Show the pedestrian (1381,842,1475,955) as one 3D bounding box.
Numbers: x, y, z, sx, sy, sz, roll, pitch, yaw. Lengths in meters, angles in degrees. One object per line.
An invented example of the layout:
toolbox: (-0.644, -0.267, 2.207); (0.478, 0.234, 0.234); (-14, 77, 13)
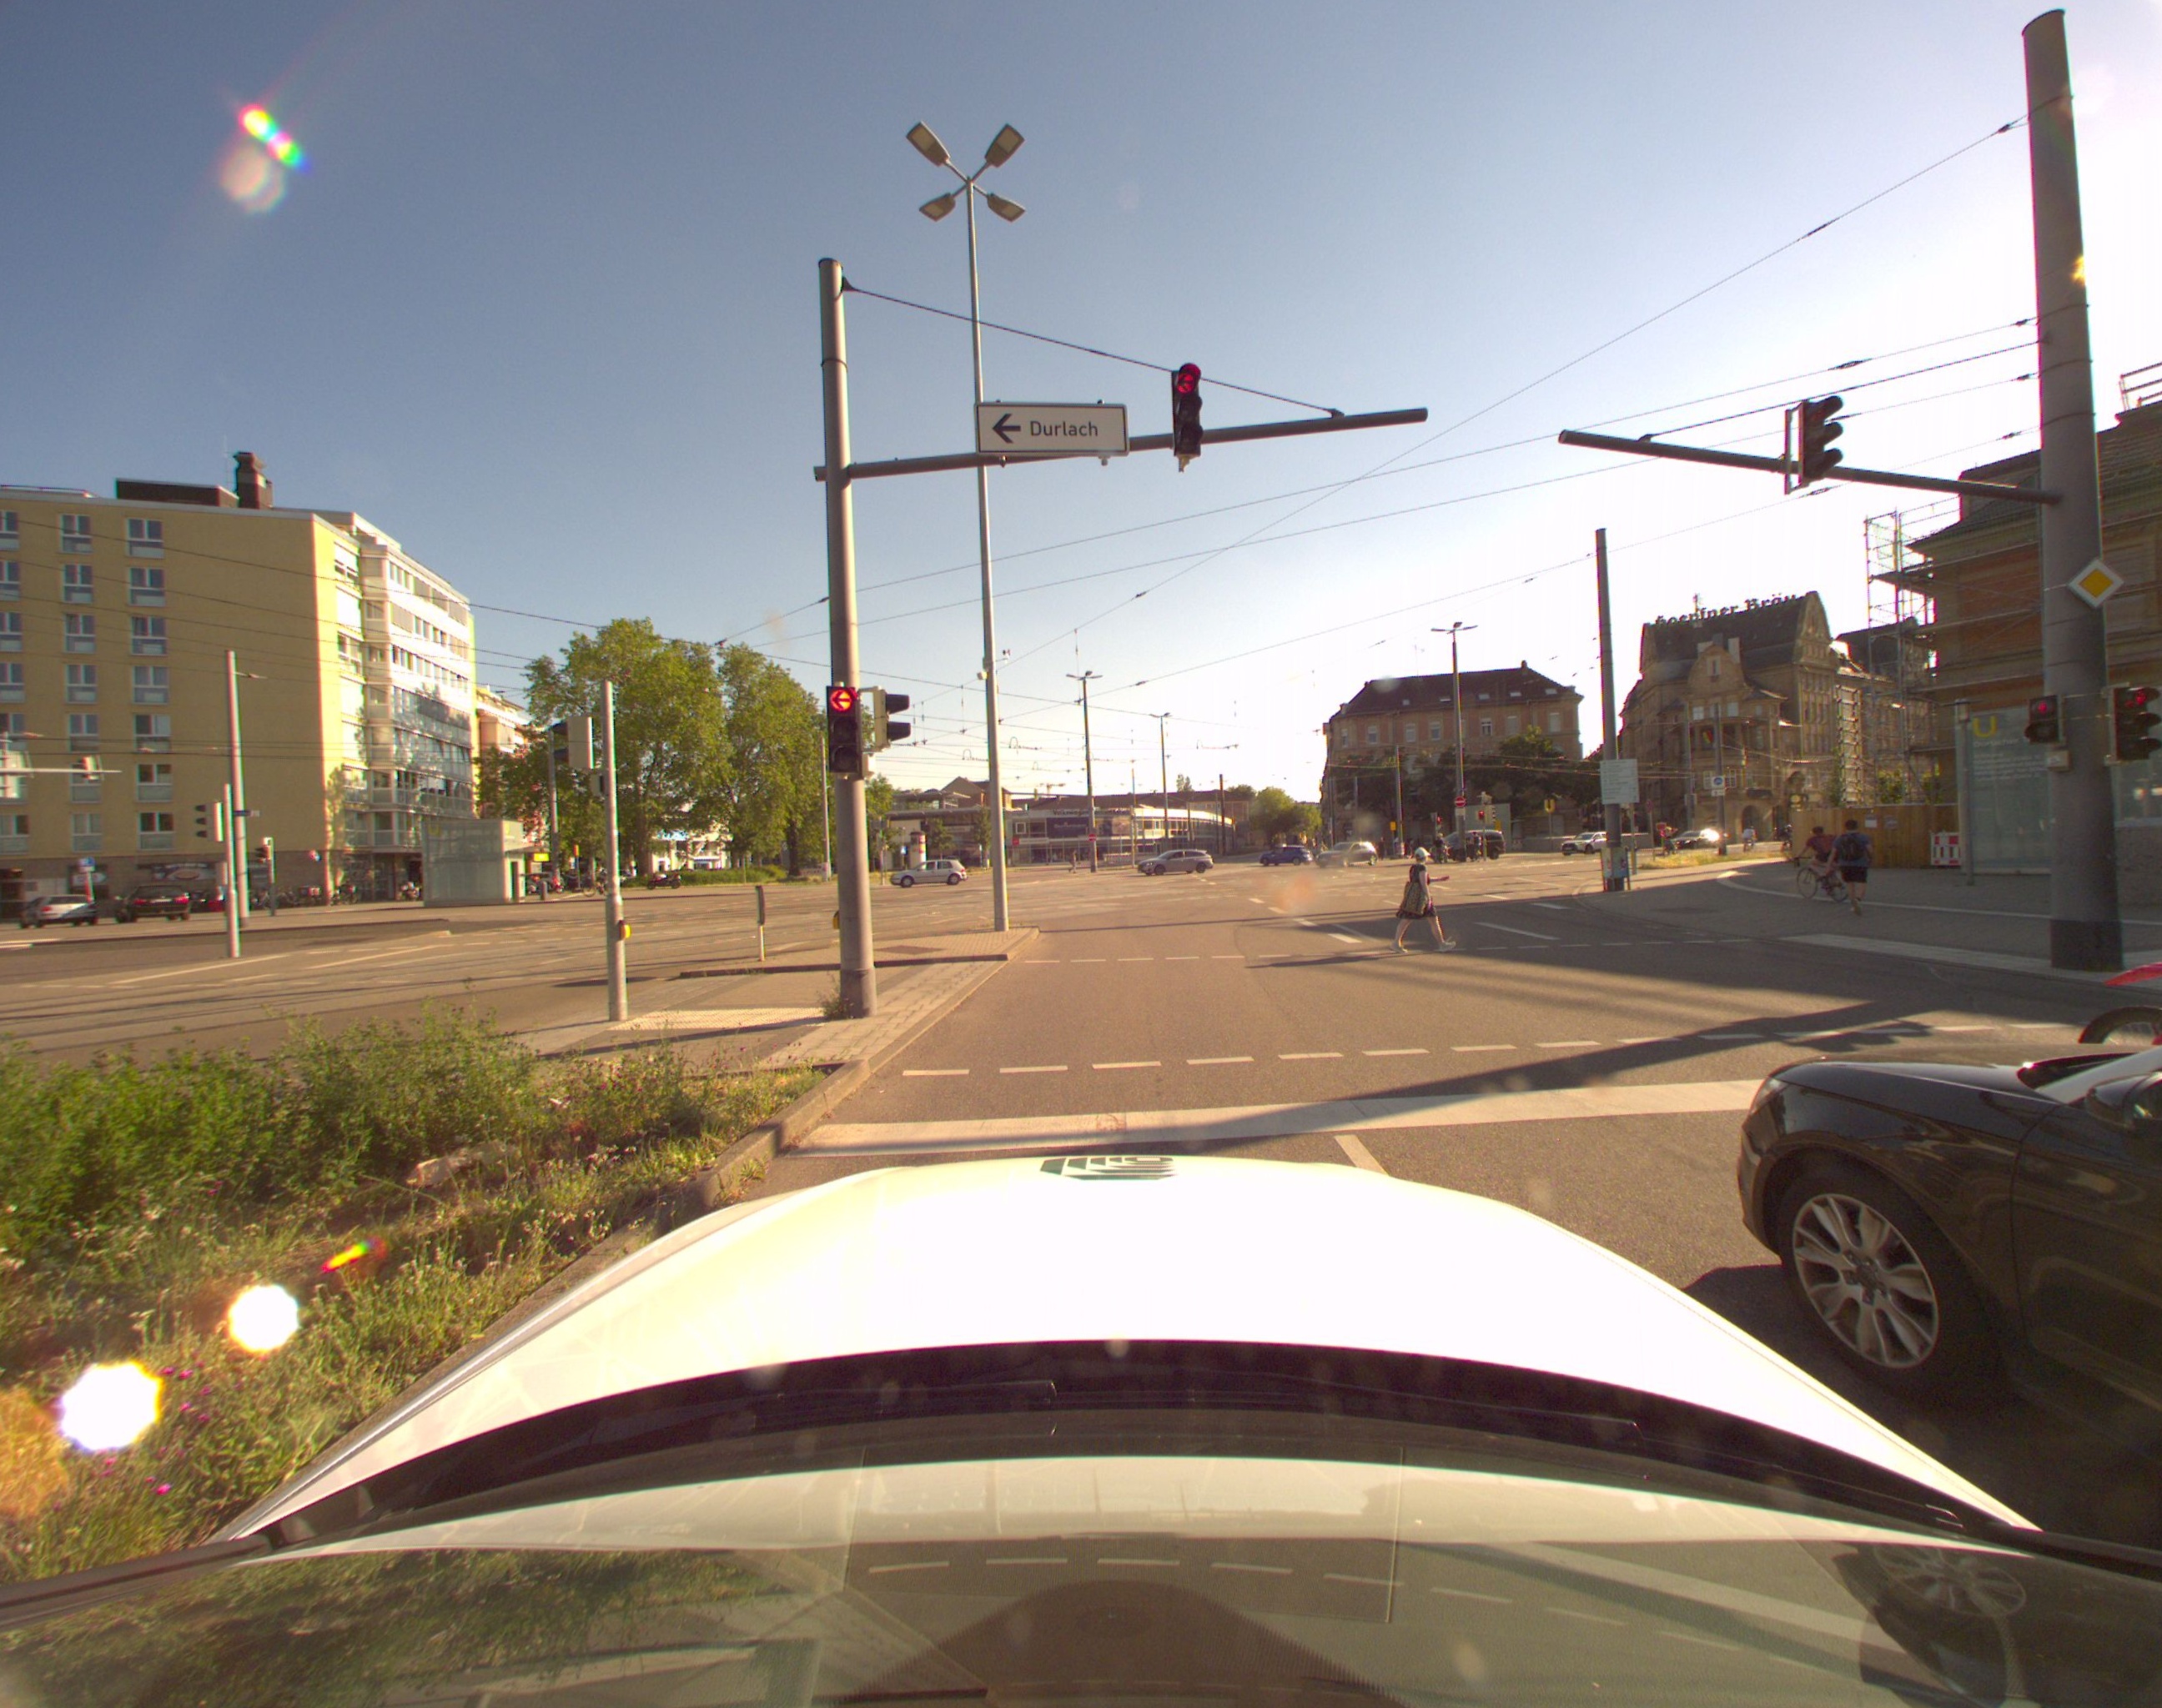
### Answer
pedestrian: (5.202, 0.640, 12.250); (1.092, 1.606, 0.697); (-2, 2, -9)

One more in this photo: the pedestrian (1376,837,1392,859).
pedestrian: (23.771, -0.495, 63.875); (0.921, 1.676, 0.783); (-2, 0, 1)

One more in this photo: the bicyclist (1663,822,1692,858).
bicyclist: (29.210, -0.686, 39.874); (0.747, 1.690, 0.855); (-2, 2, -19)

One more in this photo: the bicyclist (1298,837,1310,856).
bicyclist: (22.879, -0.725, 83.513); (1.110, 1.900, 1.079); (-1, 2, 20)

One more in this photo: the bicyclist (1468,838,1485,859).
bicyclist: (23.502, -0.326, 48.410); (0.850, 1.176, 0.719); (-1, 2, 21)

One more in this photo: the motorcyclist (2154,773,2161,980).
motorcyclist: (5.497, 0.474, 3.264); (1.091, 1.721, 0.937); (-1, -1, 3)

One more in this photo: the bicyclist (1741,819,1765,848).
bicyclist: (39.489, -1.190, 47.859); (0.650, 1.690, 0.856); (-2, 2, -16)

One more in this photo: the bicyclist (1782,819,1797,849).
bicyclist: (39.993, -1.137, 45.971); (0.643, 1.690, 0.866); (0, 2, 39)

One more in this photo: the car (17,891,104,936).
car: (-46.319, 2.655, 36.956); (3.949, 1.748, 1.851); (0, 2, 30)

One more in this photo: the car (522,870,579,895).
car: (-45.450, 2.420, 69.827); (4.015, 1.857, 1.834); (-3, 2, -33)

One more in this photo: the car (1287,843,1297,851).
car: (44.402, -1.530, 171.657); (1.790, 1.655, 3.930); (-1, 2, 11)

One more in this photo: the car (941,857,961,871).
car: (-16.215, 1.181, 101.702); (1.989, 1.534, 3.995); (-1, 2, -4)

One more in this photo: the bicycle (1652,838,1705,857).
bicycle: (29.275, -0.331, 39.903); (2.501, 0.874, 0.854); (-2, 2, -20)

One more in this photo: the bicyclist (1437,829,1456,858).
bicyclist: (21.770, -0.630, 48.513); (0.654, 1.690, 0.851); (-2, 2, -33)

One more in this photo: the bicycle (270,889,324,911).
bicycle: (-45.101, 2.644, 46.865); (2.047, 1.090, 0.772); (-2, 0, -18)

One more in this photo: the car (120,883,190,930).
car: (-43.486, 2.407, 38.211); (3.948, 1.857, 1.865); (0, 2, 38)

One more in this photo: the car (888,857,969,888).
car: (-8.360, 0.987, 44.514); (4.106, 1.452, 1.942); (-2, 0, -18)

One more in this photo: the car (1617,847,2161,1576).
car: (3.050, 0.713, 1.303); (1.795, 1.444, 3.978); (-1, 0, 0)

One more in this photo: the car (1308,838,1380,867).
car: (15.314, -0.088, 47.364); (4.121, 1.486, 1.932); (-2, 0, -36)

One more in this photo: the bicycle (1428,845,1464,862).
bicycle: (21.753, -0.042, 48.490); (2.313, 0.905, 0.851); (-3, 2, -34)

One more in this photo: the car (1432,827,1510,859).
car: (25.302, -0.710, 52.843); (4.860, 1.893, 1.937); (-2, 0, -27)

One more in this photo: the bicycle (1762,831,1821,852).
bicycle: (40.038, -0.725, 45.951); (2.469, 1.133, 0.866); (0, 2, 38)

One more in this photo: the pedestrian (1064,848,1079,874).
pedestrian: (-0.645, 0.477, 57.057); (0.986, 1.816, 0.920); (-1, 2, 0)

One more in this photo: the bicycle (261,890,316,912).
bicycle: (-44.809, 2.661, 46.073); (2.047, 1.090, 0.772); (-2, 0, -18)

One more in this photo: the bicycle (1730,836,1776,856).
bicycle: (39.530, -0.484, 47.891); (2.498, 1.133, 0.855); (-2, 2, -17)

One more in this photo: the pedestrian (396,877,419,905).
pedestrian: (-41.673, 2.303, 50.400); (0.777, 1.676, 0.779); (-2, 0, -15)

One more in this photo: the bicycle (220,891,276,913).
bicycle: (-47.223, 2.716, 46.198); (2.047, 1.090, 0.772); (-2, 0, -18)

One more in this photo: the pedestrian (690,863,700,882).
pedestrian: (-40.851, 1.940, 86.198); (0.586, 2.013, 0.711); (-2, 0, 2)

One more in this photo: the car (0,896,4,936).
car: (-49.485, 2.775, 36.024); (3.948, 1.719, 1.852); (0, 2, 32)

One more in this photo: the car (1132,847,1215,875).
car: (5.538, 0.409, 49.032); (4.559, 1.517, 1.941); (-2, 0, -20)

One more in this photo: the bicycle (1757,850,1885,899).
bicycle: (15.692, 0.433, 17.364); (0.717, 0.952, 2.250); (-1, -1, 2)

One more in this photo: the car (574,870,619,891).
car: (-38.155, 2.081, 64.251); (1.849, 1.452, 3.983); (-2, 0, -13)

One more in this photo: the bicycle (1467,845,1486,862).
bicycle: (23.554, -0.050, 48.514); (0.850, 0.905, 2.316); (-1, 2, 22)

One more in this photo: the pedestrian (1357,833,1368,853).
pedestrian: (23.308, -0.901, 67.490); (0.644, 1.653, 0.551); (-2, 0, -36)

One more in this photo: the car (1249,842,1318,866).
car: (14.913, 0.004, 60.088); (4.558, 1.594, 1.966); (-2, 0, 42)

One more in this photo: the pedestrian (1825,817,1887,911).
pedestrian: (14.268, 0.178, 15.013); (0.690, 1.671, 0.834); (-4, -1, 40)

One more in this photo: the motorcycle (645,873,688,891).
motorcycle: (-26.315, 1.782, 51.685); (2.286, 1.054, 0.685); (-2, 2, -12)

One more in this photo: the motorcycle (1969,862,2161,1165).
motorcycle: (5.501, 0.737, 3.249); (1.091, 1.377, 2.655); (-1, 0, 3)

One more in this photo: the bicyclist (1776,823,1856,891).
bicyclist: (15.687, 0.068, 17.408); (0.717, 1.384, 1.076); (-1, -1, 2)

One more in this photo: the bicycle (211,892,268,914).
bicycle: (-46.889, 2.733, 45.394); (2.047, 1.090, 0.772); (-2, 0, -18)

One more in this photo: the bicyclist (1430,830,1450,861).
bicyclist: (21.226, -0.481, 48.147); (0.587, 1.778, 0.858); (-2, 0, -32)

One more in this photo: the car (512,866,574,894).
car: (-43.102, 2.033, 65.337); (4.015, 2.013, 1.979); (-2, 0, -33)

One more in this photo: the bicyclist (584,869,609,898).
bicyclist: (-27.711, 1.691, 46.591); (0.925, 1.559, 0.958); (-2, 0, -14)

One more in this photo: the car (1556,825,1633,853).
car: (36.104, -1.061, 57.279); (4.850, 1.799, 1.941); (-2, 0, -20)

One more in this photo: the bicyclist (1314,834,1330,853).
bicyclist: (19.439, -0.850, 65.703); (0.927, 1.559, 0.854); (-2, 2, -21)

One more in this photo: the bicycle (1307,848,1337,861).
bicycle: (19.475, 0.013, 65.735); (2.305, 0.979, 0.854); (-2, 2, -22)

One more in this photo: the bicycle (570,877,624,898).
bicycle: (-27.658, 1.913, 46.602); (2.441, 1.003, 0.958); (-2, 0, -14)

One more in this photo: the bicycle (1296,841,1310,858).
bicycle: (22.791, -0.494, 83.483); (1.126, 1.690, 4.019); (-2, 0, 19)

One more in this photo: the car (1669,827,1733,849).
car: (47.269, -1.246, 62.064); (4.361, 1.563, 1.938); (-2, 2, -22)
